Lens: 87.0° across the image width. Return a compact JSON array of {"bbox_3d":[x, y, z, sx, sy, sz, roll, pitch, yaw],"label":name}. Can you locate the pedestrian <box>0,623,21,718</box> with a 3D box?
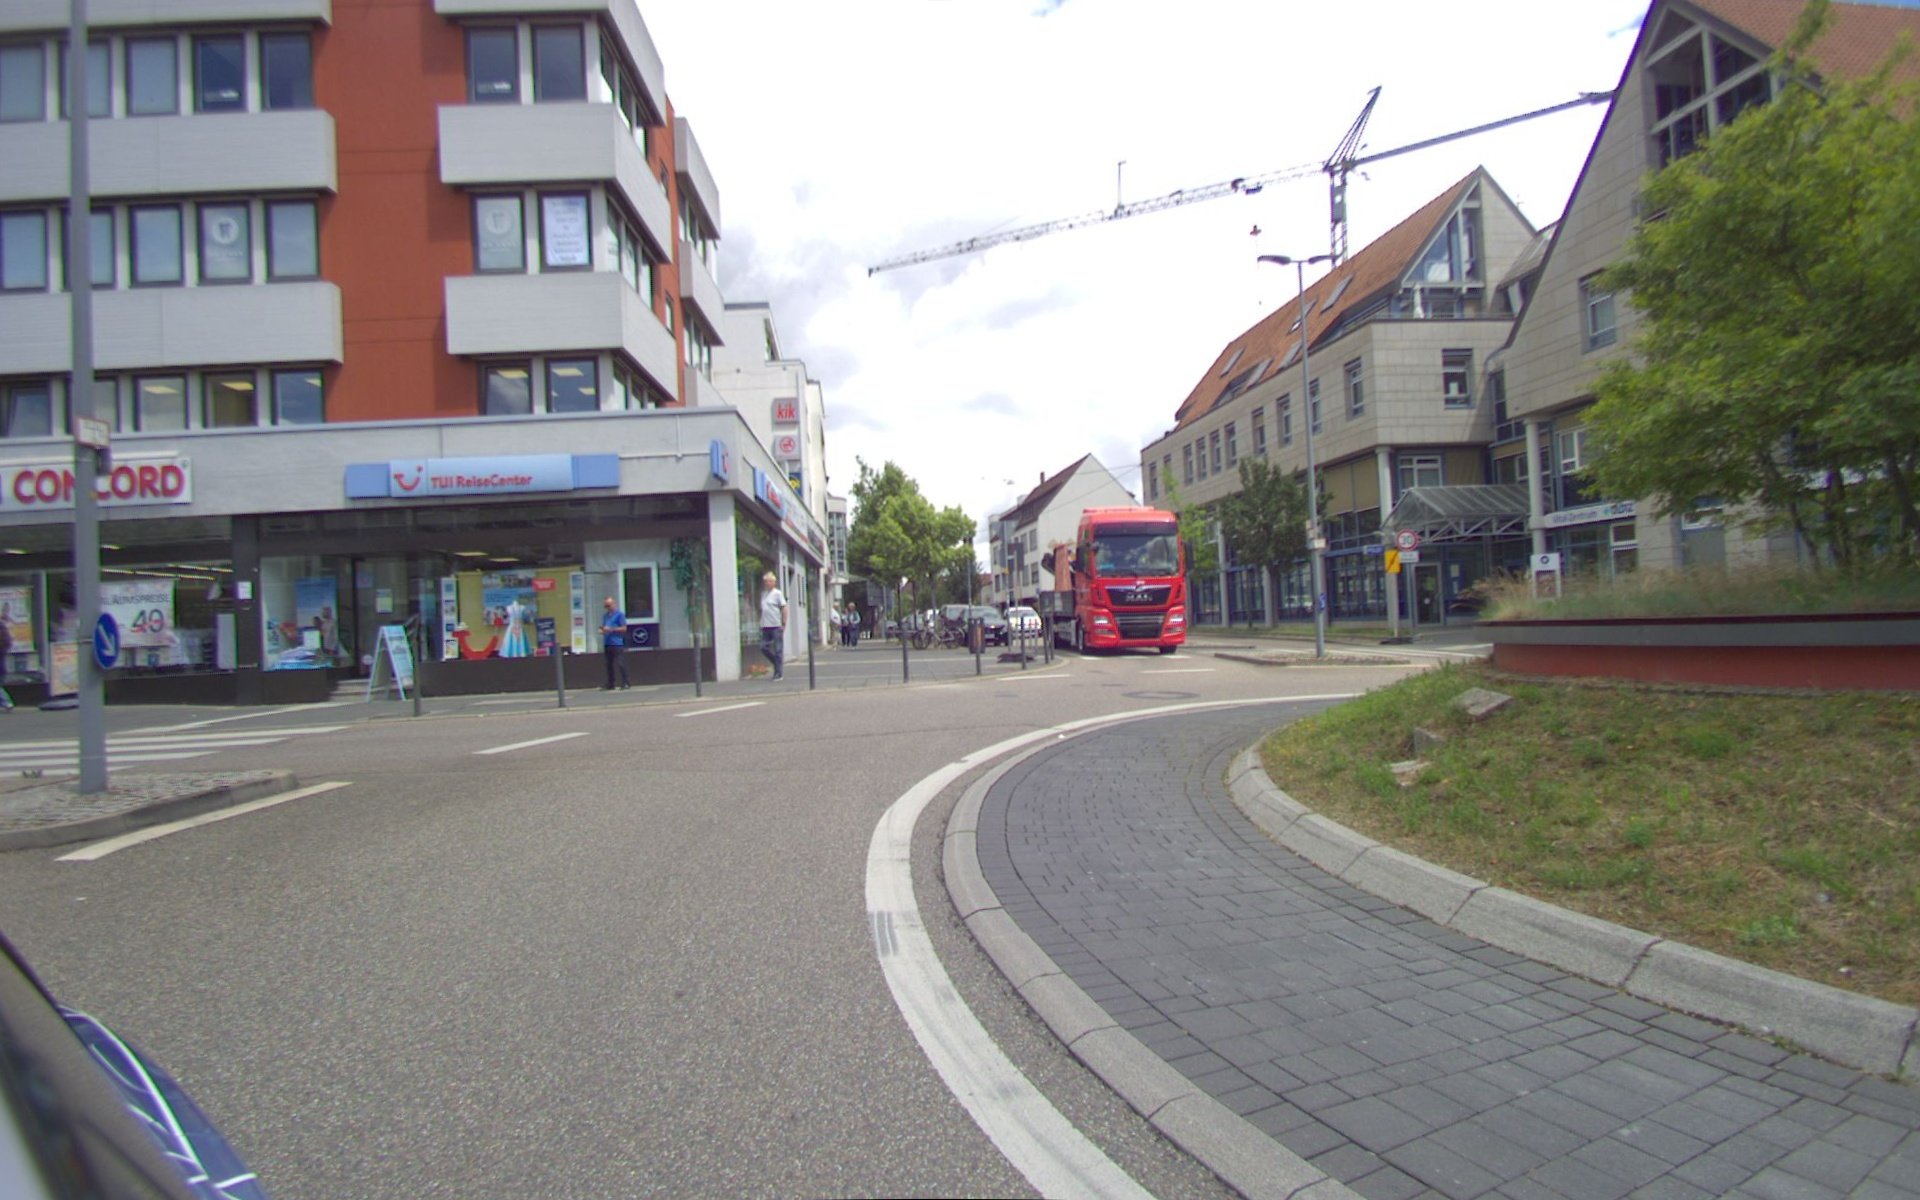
[{"bbox_3d":[-16.547,1.200,17.194,0.629,1.600,0.589,-1,-1,-4],"label":"pedestrian"}]

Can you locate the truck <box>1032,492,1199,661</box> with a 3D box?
[{"bbox_3d":[4.159,-0.493,29.940,2.924,4.058,10.598,-1,-1,-2],"label":"truck"}]

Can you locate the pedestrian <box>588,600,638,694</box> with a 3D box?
[{"bbox_3d":[-6.098,0.815,17.772,0.597,1.616,0.569,-1,-1,-45],"label":"pedestrian"}]

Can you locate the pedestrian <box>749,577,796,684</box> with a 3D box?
[{"bbox_3d":[-3.429,0.552,18.552,0.793,1.889,0.682,-2,-1,-8],"label":"pedestrian"}]

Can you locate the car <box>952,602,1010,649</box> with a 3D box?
[{"bbox_3d":[0.707,0.899,36.450,1.837,1.593,4.377,-1,-1,-2],"label":"car"}]

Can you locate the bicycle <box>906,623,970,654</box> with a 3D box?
[{"bbox_3d":[-0.727,1.257,33.103,2.034,0.953,0.522,-1,-1,-7],"label":"bicycle"}]

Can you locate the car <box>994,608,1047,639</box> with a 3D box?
[{"bbox_3d":[2.795,1.072,47.525,1.655,1.342,3.863,-2,-1,-9],"label":"car"}]

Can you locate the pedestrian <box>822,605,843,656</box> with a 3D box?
[{"bbox_3d":[-4.453,1.057,35.208,0.670,1.769,0.511,-2,-1,-8],"label":"pedestrian"}]

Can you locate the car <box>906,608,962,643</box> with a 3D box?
[{"bbox_3d":[-1.316,1.227,49.591,1.832,1.578,4.387,0,-1,-14],"label":"car"}]

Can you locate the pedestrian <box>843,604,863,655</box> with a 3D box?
[{"bbox_3d":[-3.782,1.027,35.780,0.506,1.769,0.535,-2,-1,16],"label":"pedestrian"}]
